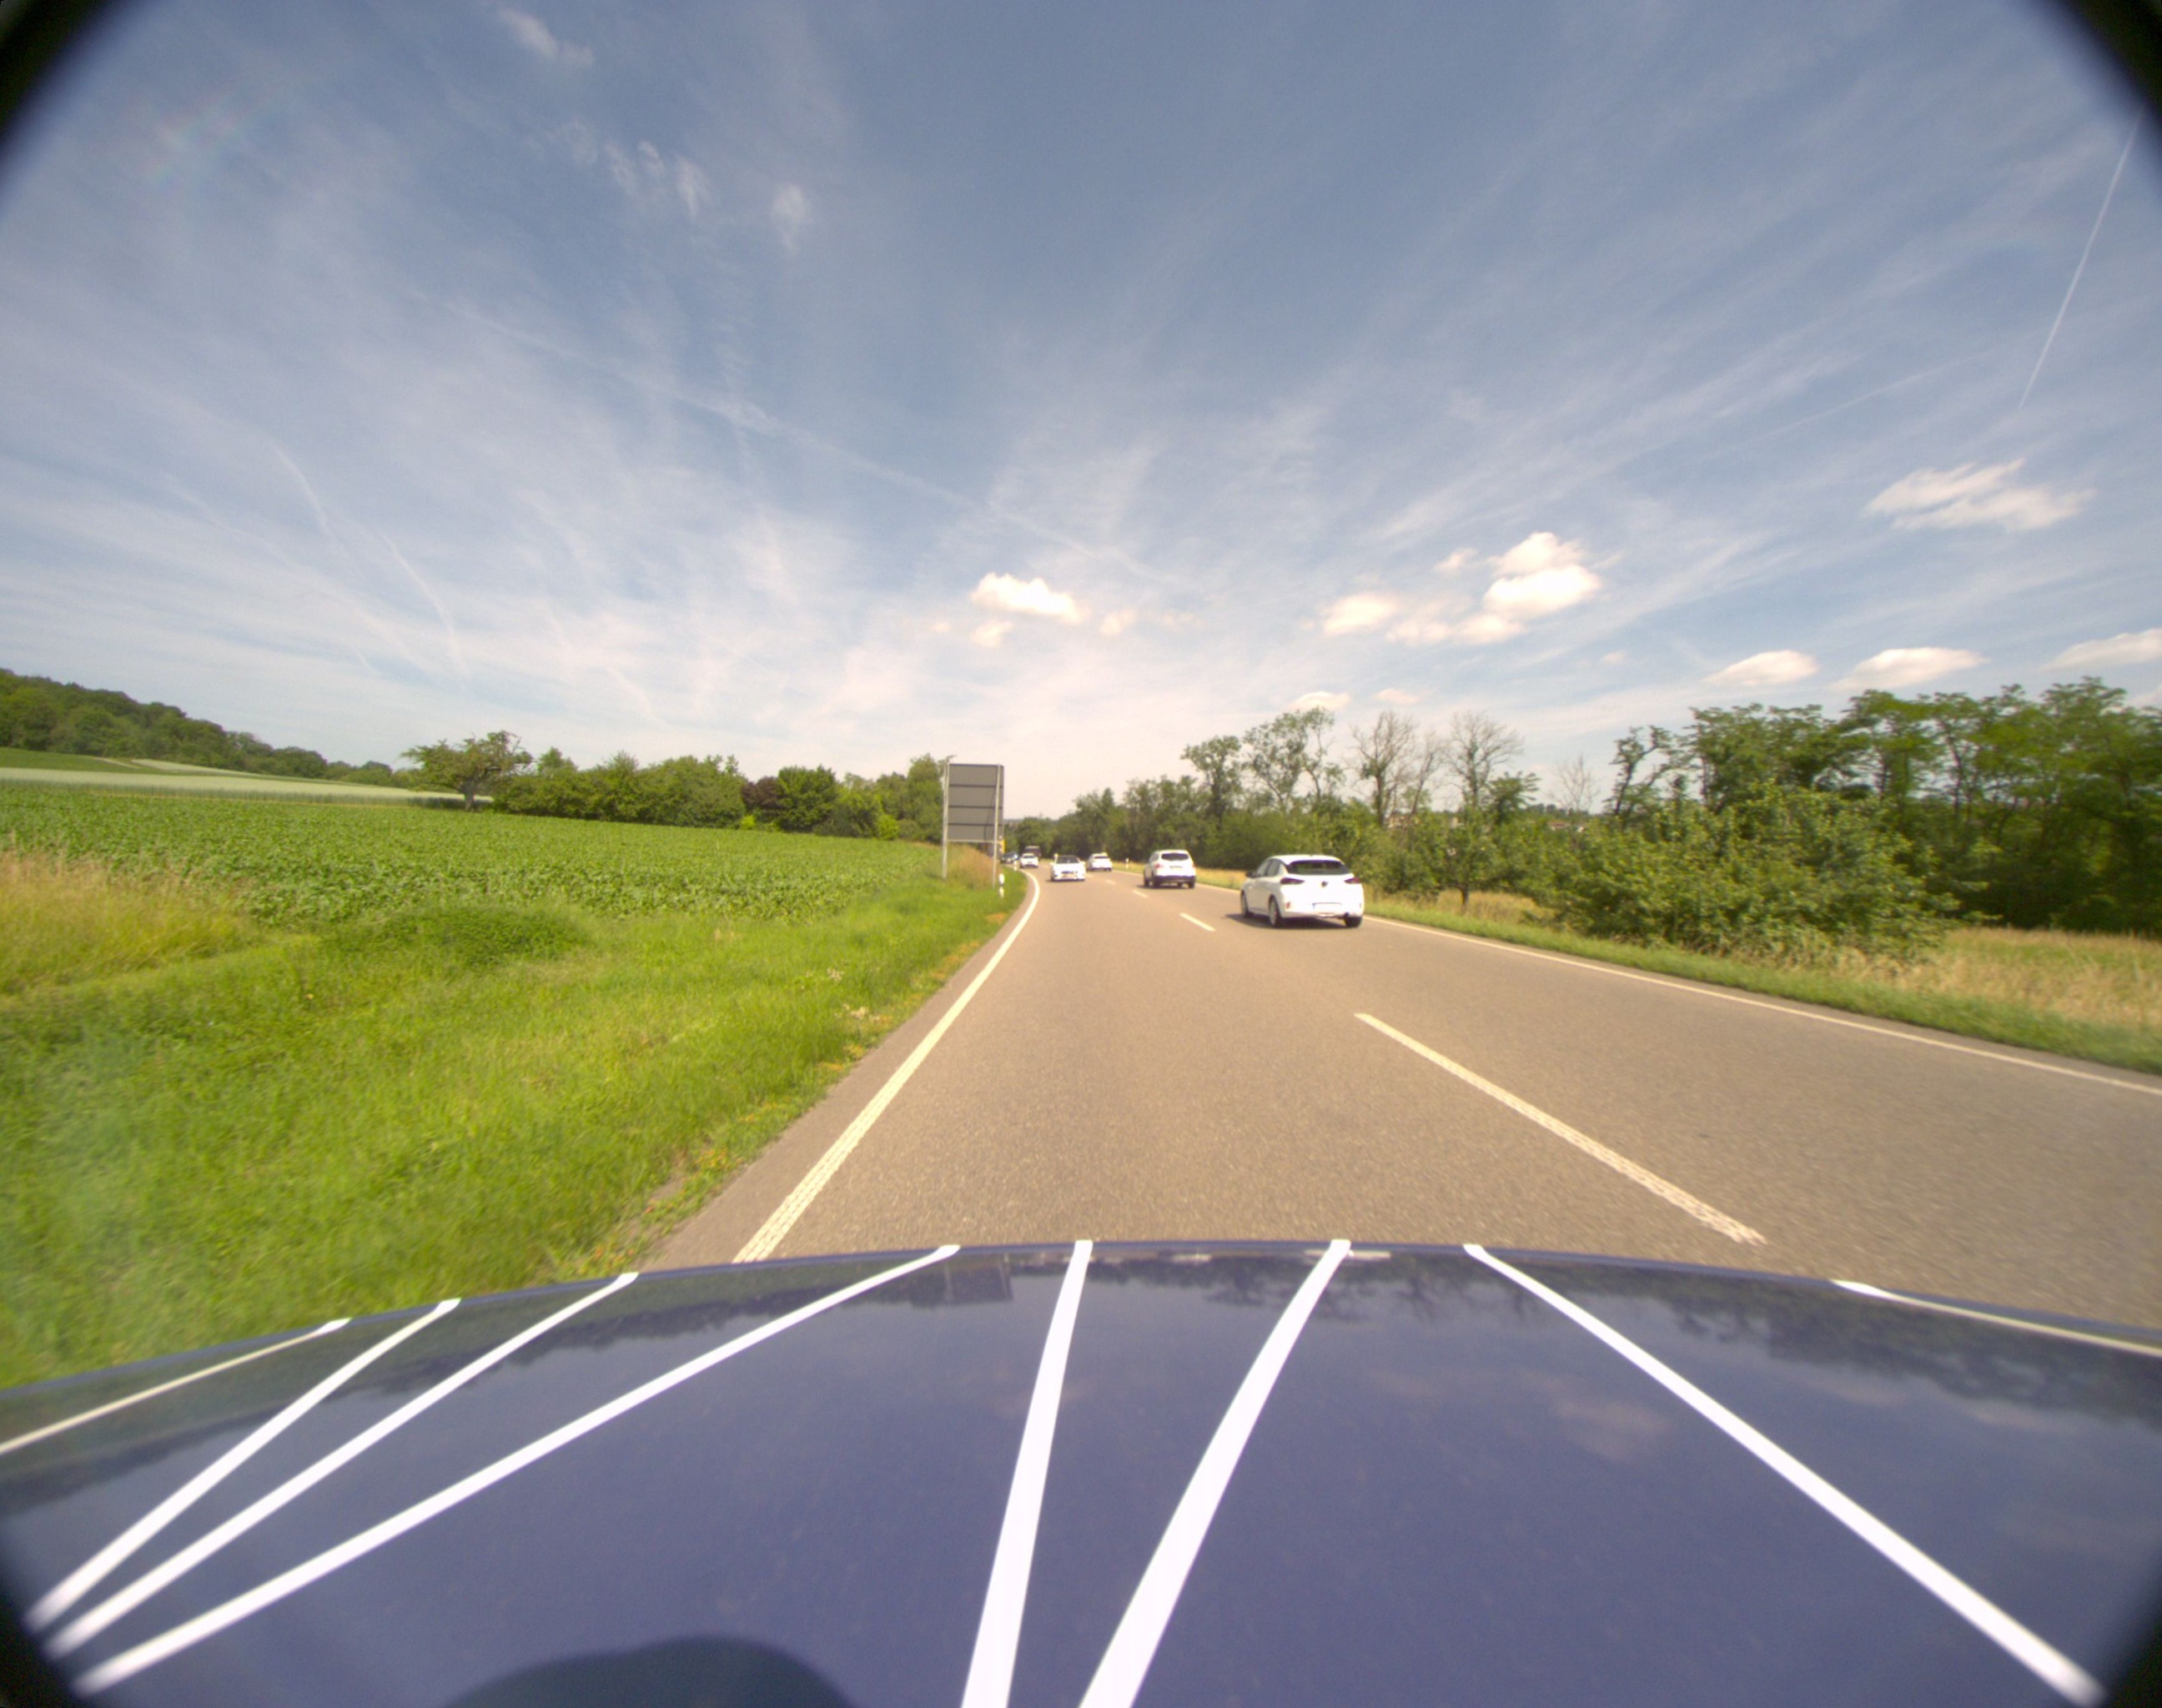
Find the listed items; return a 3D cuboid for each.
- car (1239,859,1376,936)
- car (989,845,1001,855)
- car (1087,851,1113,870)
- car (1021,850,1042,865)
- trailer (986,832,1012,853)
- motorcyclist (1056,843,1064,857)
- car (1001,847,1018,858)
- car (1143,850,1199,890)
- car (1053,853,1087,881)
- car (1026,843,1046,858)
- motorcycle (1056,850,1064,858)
[{"bbox_3d":[4.606,0.815,16.033,1.755,1.406,3.773,0,0,0],"label":"car"},{"bbox_3d":[-14.847,-0.703,131.122,1.667,1.641,3.995,1,1,-13],"label":"car"},{"bbox_3d":[1.574,0.508,64.321,1.796,1.513,4.158,-1,0,-5],"label":"car"},{"bbox_3d":[-5.330,0.387,81.424,1.868,1.480,3.996,1,1,-10],"label":"car"},{"bbox_3d":[-16.736,-2.336,154.085,3.008,4.021,12.895,-1,2,-16],"label":"trailer"},{"bbox_3d":[-2.679,-0.517,96.585,0.921,1.708,0.962,-1,1,-7],"label":"motorcyclist"},{"bbox_3d":[-10.286,-0.211,109.055,1.826,1.511,3.994,0,1,-13],"label":"car"},{"bbox_3d":[3.896,0.634,33.493,1.838,1.607,4.361,-1,1,-1],"label":"car"},{"bbox_3d":[-0.660,0.717,44.155,1.773,1.437,3.998,-2,1,-3],"label":"car"},{"bbox_3d":[-7.052,-0.560,117.696,2.179,2.290,4.900,-2,1,-14],"label":"car"},{"bbox_3d":[-2.663,-0.005,96.710,0.759,0.988,2.278,-1,1,-6],"label":"motorcycle"}]
